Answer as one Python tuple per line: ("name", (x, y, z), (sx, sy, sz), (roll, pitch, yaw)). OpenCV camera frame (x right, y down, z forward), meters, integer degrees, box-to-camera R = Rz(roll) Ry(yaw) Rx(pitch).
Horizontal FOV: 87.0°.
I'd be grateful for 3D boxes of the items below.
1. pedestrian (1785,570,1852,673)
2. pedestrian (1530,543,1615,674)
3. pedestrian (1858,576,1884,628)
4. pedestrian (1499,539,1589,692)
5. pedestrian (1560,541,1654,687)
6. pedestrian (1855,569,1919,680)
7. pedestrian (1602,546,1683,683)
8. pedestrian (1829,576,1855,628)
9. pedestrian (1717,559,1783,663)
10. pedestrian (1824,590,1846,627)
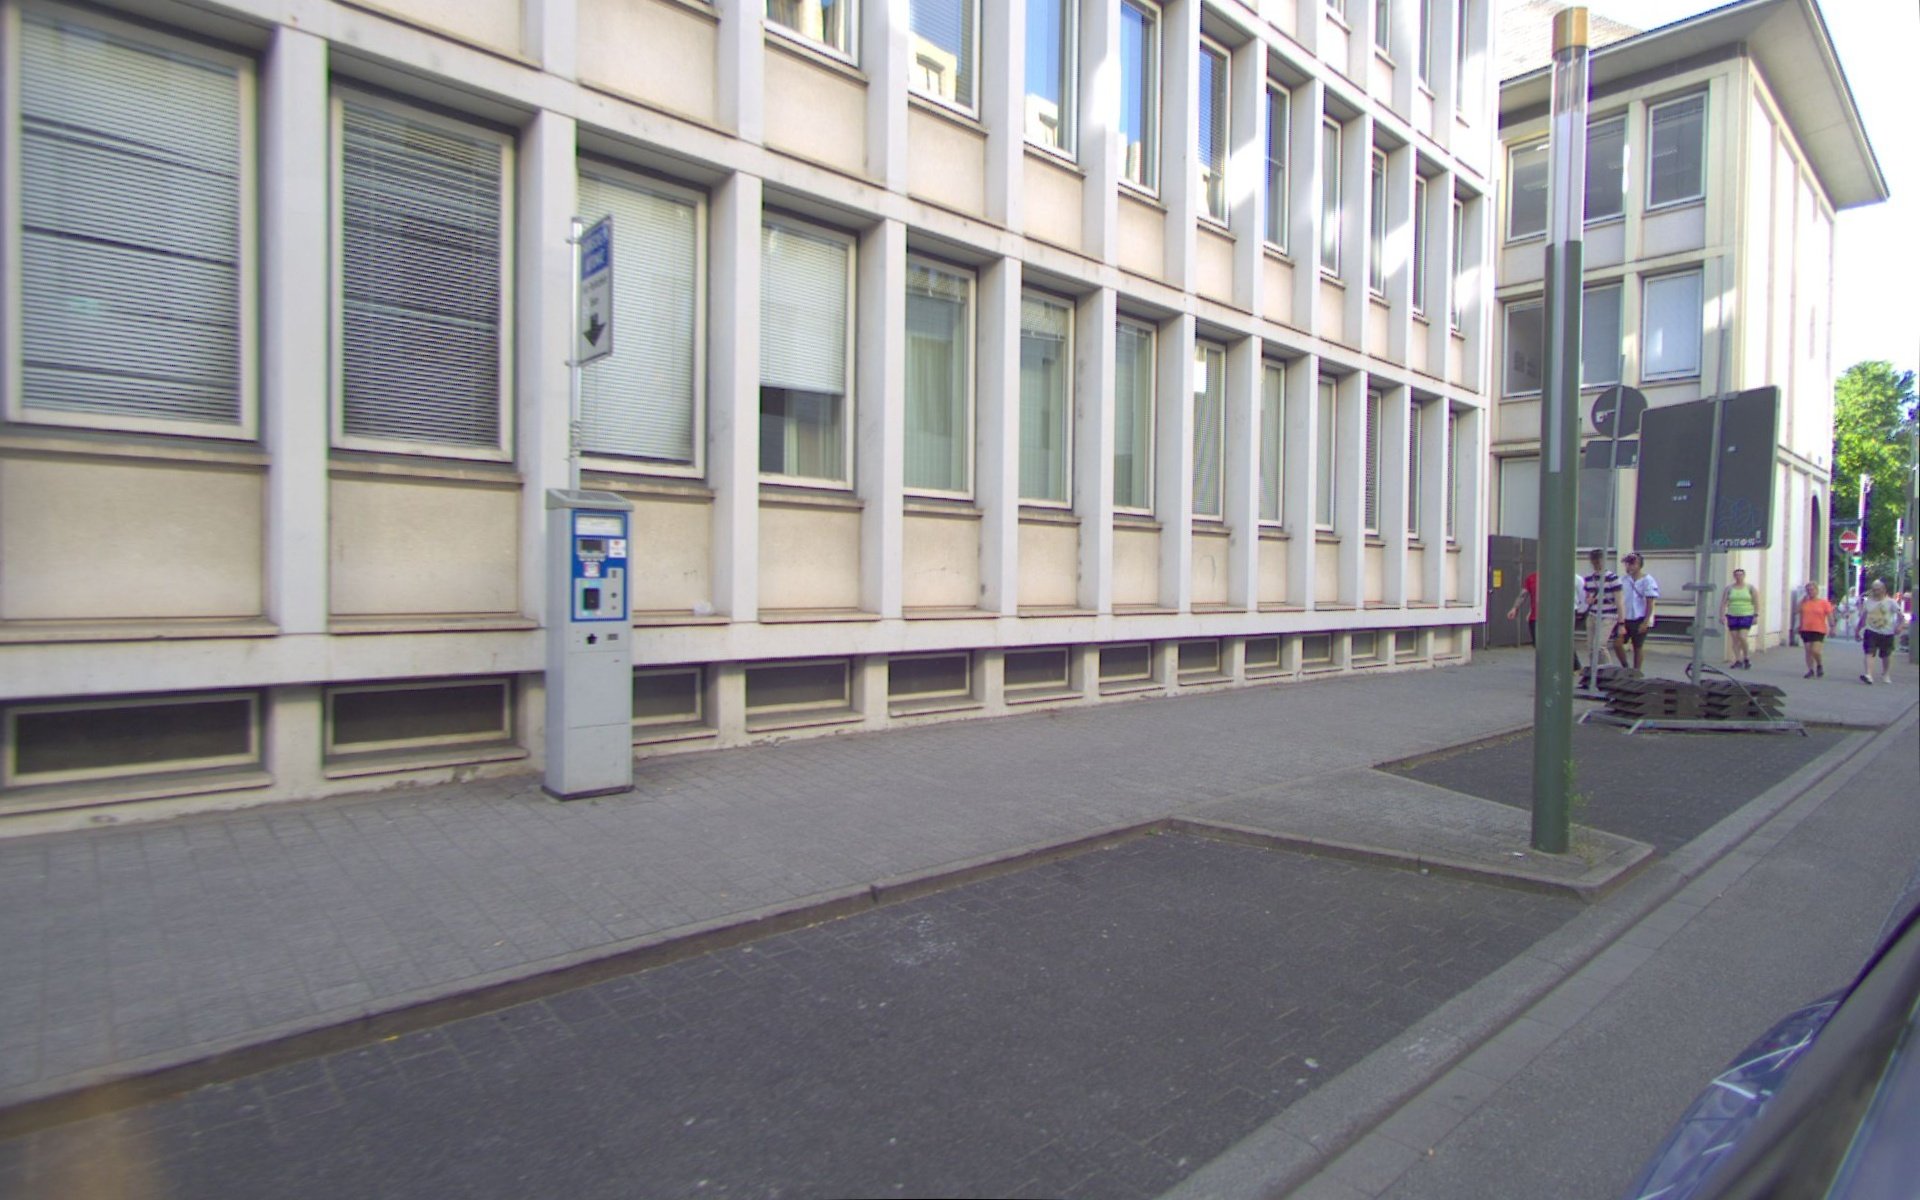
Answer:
("pedestrian", (14.409, 0.345, 16.989), (0.681, 1.656, 0.685), (0, 3, -40))
("pedestrian", (8.878, 0.109, 14.675), (0.681, 1.799, 0.685), (0, 7, -40))
("pedestrian", (29.162, 0.043, 32.398), (0.624, 1.634, 0.614), (0, 1, 43))
("pedestrian", (7.237, 0.174, 12.546), (0.583, 1.799, 0.685), (0, 4, -40))
("pedestrian", (8.447, 0.160, 13.219), (0.681, 1.799, 0.685), (0, 7, -40))
("pedestrian", (15.400, 0.382, 16.736), (0.681, 1.736, 0.685), (0, 5, -40))
("pedestrian", (9.396, 0.180, 13.945), (0.681, 1.800, 0.685), (0, 3, -40))
("pedestrian", (28.394, 0.051, 32.581), (0.624, 1.662, 0.614), (0, 1, 43))
("pedestrian", (13.841, 0.177, 17.729), (0.681, 1.736, 0.685), (0, 4, -40))
("pedestrian", (28.701, 0.265, 33.188), (0.533, 1.191, 0.614), (0, 1, 43))
